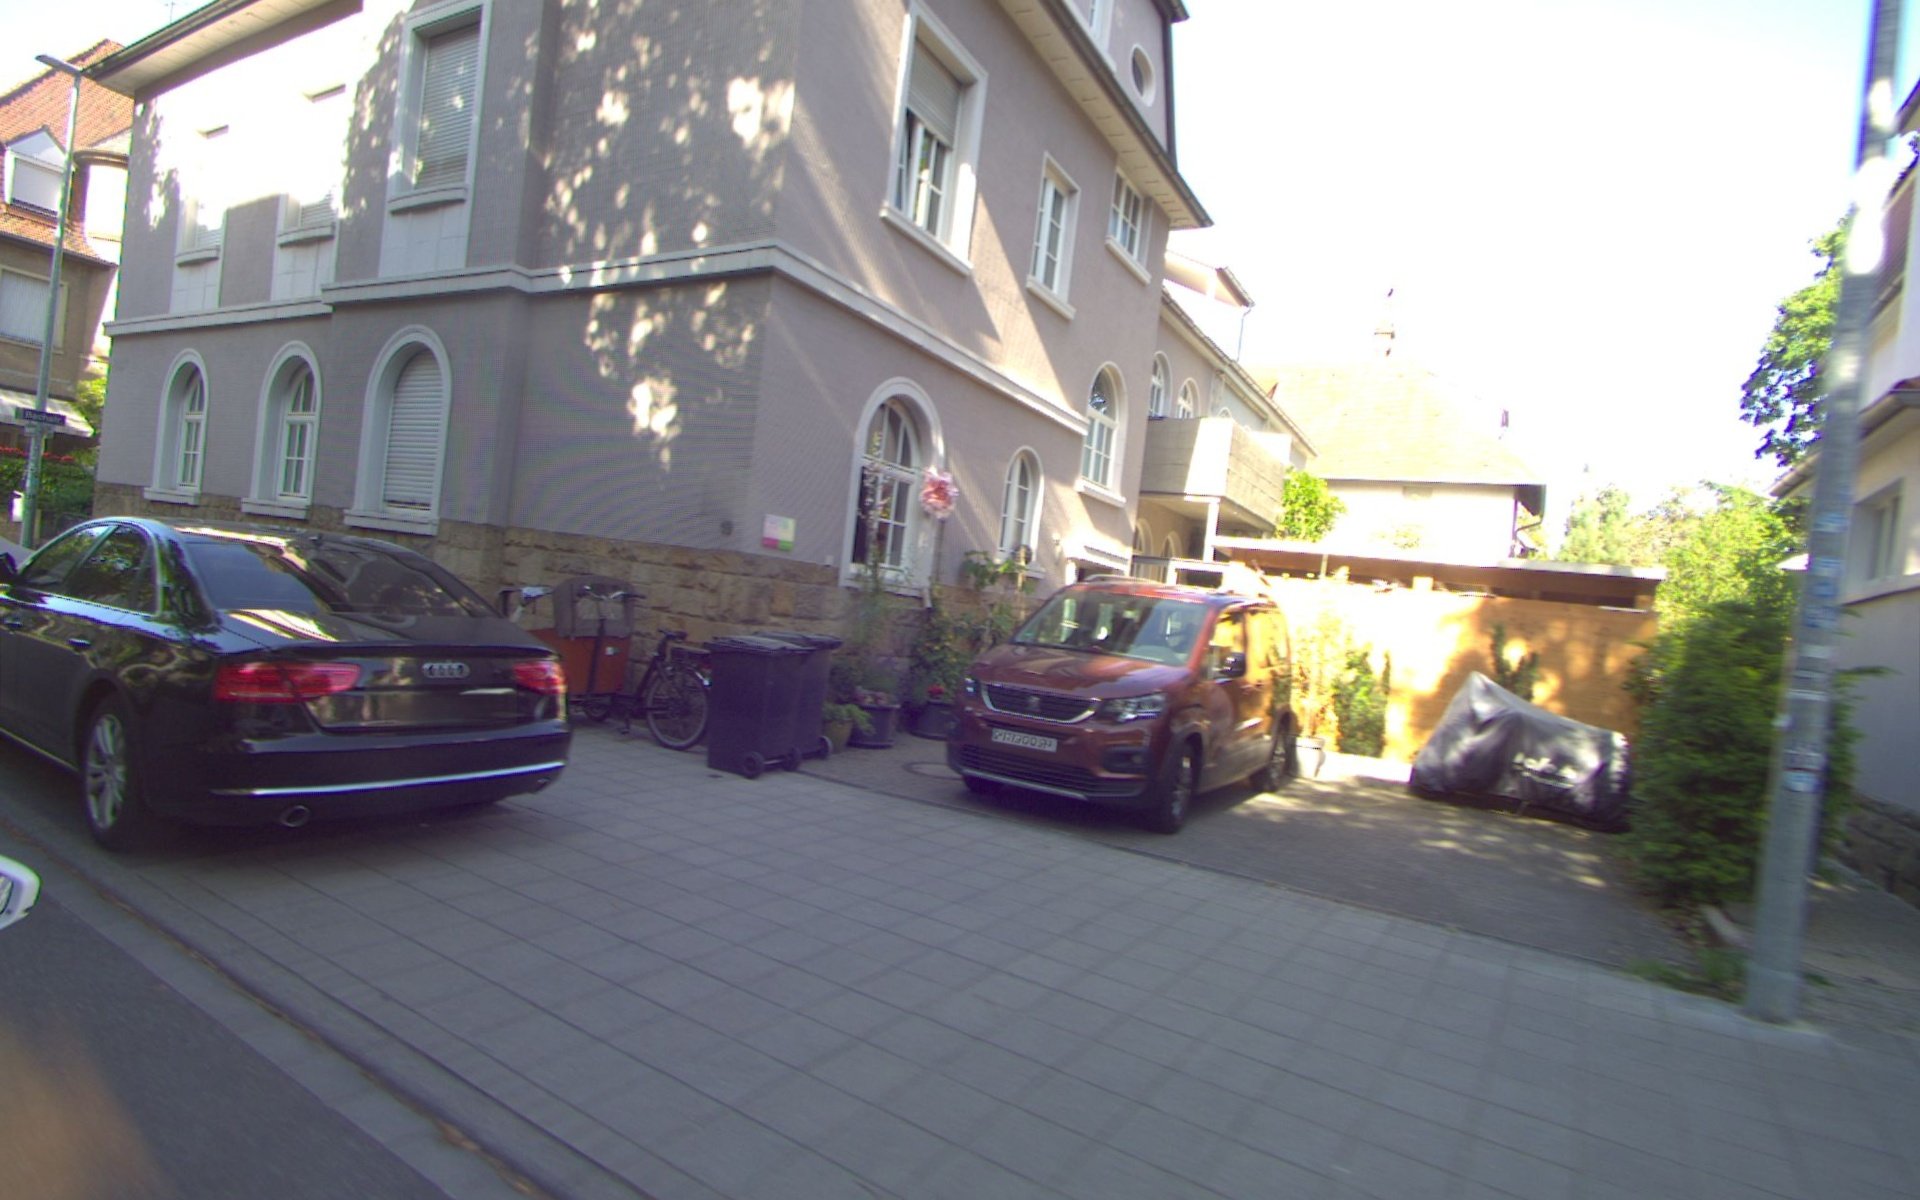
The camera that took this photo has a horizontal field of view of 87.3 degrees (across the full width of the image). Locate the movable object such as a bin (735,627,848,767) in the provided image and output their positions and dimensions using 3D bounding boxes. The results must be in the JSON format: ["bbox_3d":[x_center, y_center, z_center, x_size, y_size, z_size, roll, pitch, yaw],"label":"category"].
[{"bbox_3d":[-1.402,0.793,8.397,0.607,1.053,0.569,7,1,30],"label":"movable object such as a bin"}]

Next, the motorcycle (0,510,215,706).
[{"bbox_3d":[-7.179,0.014,7.659,2.172,1.356,0.916,6,0,-25],"label":"motorcycle"}]

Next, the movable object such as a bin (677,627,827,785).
[{"bbox_3d":[-1.591,0.789,7.724,0.814,1.053,0.648,7,1,30],"label":"movable object such as a bin"}]

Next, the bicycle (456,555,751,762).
[{"bbox_3d":[-2.998,0.433,8.404,2.213,1.355,1.083,7,1,32],"label":"bicycle"}]

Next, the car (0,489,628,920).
[{"bbox_3d":[-4.183,0.266,5.763,4.533,1.512,1.854,7,2,34],"label":"car"}]

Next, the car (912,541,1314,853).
[{"bbox_3d":[1.550,0.702,8.518,1.736,1.866,4.142,6,0,32],"label":"car"}]

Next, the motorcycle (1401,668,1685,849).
[{"bbox_3d":[5.533,1.470,9.725,2.128,1.295,0.789,8,-1,20],"label":"motorcycle"}]
